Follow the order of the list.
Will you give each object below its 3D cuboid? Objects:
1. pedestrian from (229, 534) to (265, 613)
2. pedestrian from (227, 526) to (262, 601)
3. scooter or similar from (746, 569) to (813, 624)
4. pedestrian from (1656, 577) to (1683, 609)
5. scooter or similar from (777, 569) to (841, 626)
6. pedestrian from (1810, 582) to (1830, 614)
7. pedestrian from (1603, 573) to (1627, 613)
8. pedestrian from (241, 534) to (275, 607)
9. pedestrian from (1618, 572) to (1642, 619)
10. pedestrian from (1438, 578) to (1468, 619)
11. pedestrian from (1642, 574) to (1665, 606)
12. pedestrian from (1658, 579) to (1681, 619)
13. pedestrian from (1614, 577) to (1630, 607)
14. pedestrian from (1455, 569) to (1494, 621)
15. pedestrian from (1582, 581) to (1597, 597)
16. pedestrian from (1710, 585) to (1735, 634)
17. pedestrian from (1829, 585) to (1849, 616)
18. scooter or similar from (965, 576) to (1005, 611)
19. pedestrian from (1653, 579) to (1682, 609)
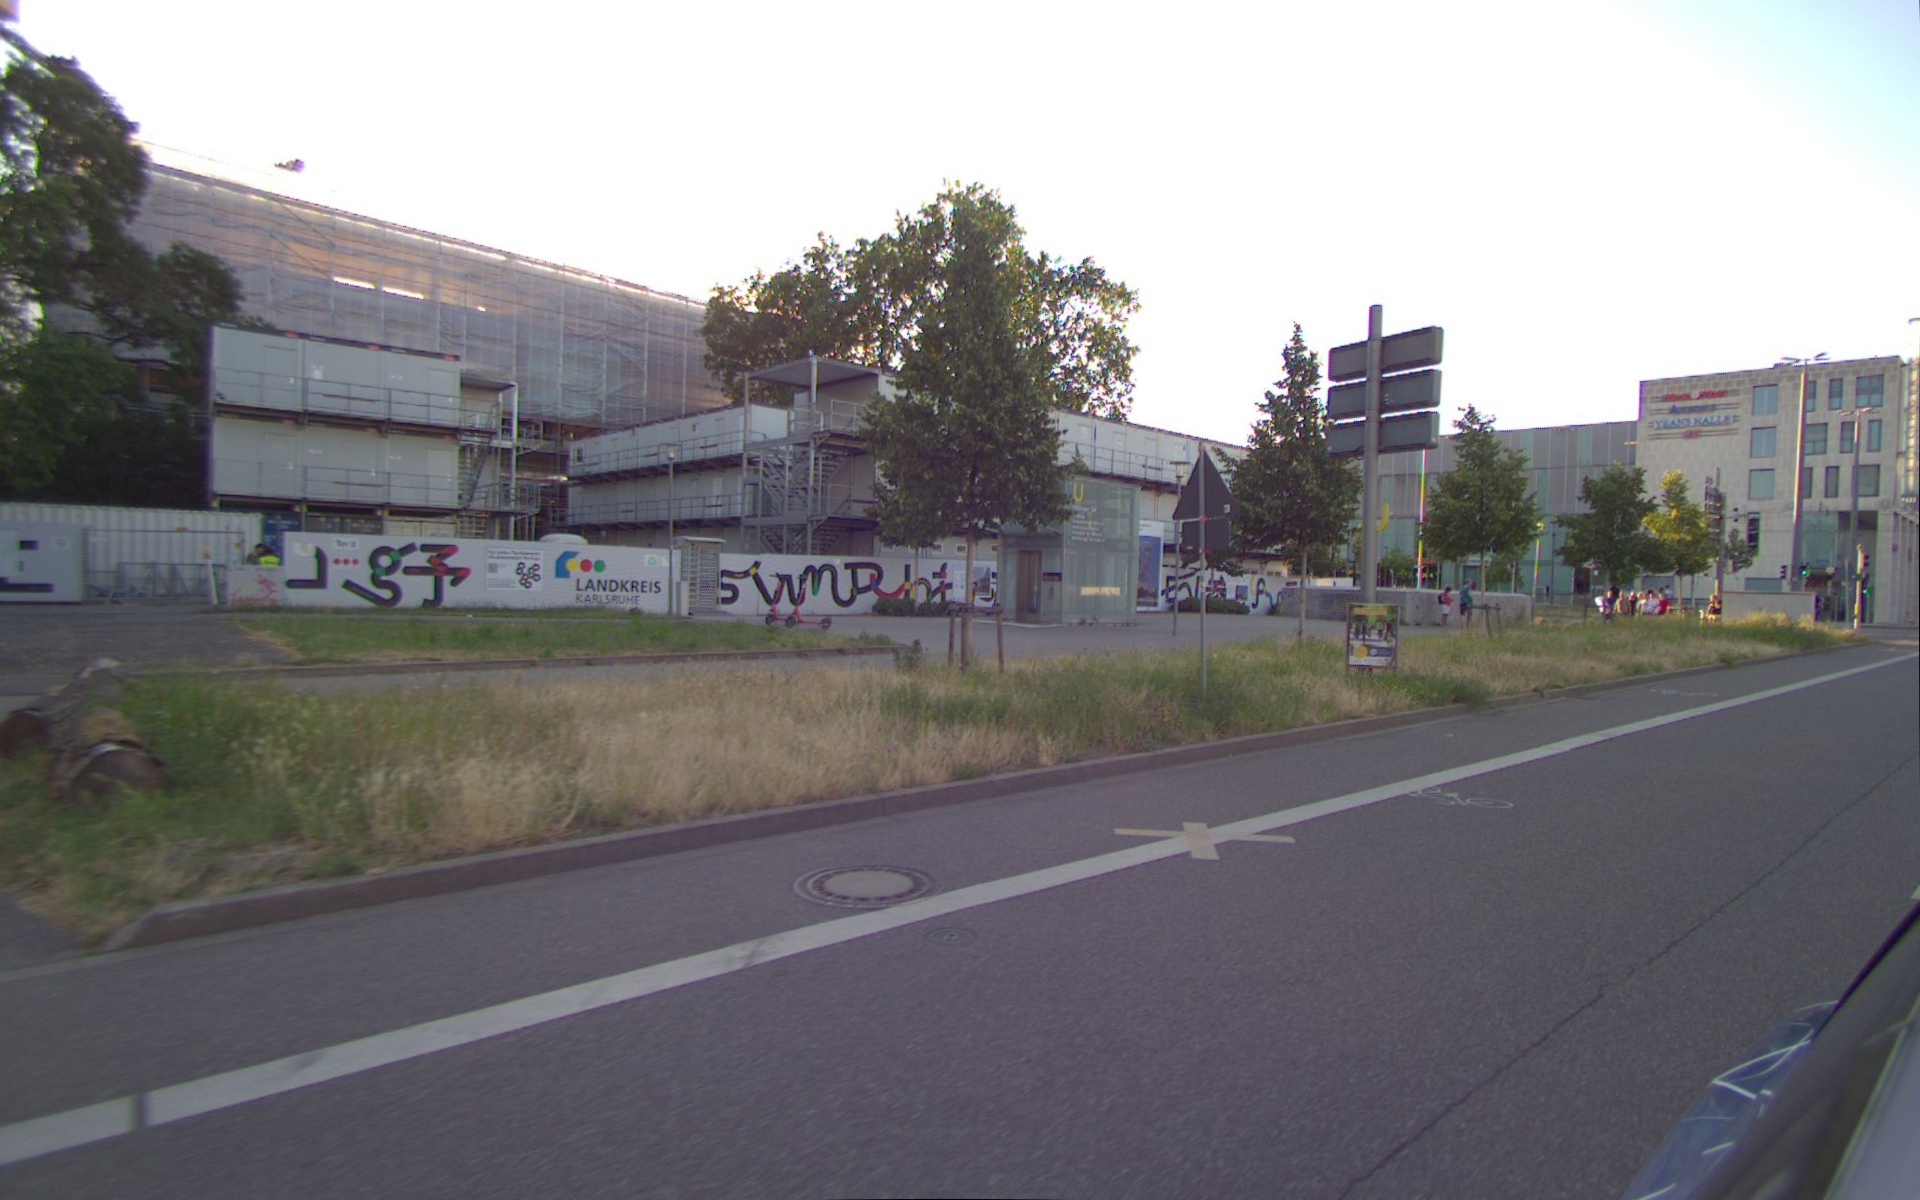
[{"bbox_3d":[-17.691,-0.658,25.136,0.588,1.943,0.771,1,1,-26],"label":"pedestrian"},{"bbox_3d":[-18.528,-0.943,26.219,0.588,1.879,0.771,1,1,-26],"label":"pedestrian"},{"bbox_3d":[-4.265,-0.097,24.004,0.473,1.235,1.550,6,4,42],"label":"scooter or similar"},{"bbox_3d":[43.666,-0.443,62.287,0.986,1.876,0.896,0,4,-29],"label":"pedestrian"},{"bbox_3d":[-3.452,-0.060,23.161,1.374,1.235,0.424,1,4,-40],"label":"scooter or similar"},{"bbox_3d":[47.889,-0.127,56.327,0.855,1.752,0.644,0,2,-39],"label":"pedestrian"},{"bbox_3d":[28.946,-0.315,44.712,0.748,1.734,0.644,2,0,-39],"label":"pedestrian"},{"bbox_3d":[-18.825,-0.782,27.149,0.588,1.925,0.771,1,1,-26],"label":"pedestrian"},{"bbox_3d":[28.188,-0.196,42.581,0.608,1.957,0.644,0,2,-39],"label":"pedestrian"},{"bbox_3d":[18.607,-0.056,38.181,0.633,1.509,0.761,3,0,-40],"label":"pedestrian"},{"bbox_3d":[43.334,-0.624,63.234,0.882,1.876,0.723,4,4,16],"label":"pedestrian"},{"bbox_3d":[32.025,-0.046,45.679,0.856,1.734,0.643,0,2,-41],"label":"pedestrian"},{"bbox_3d":[41.158,-0.495,62.891,0.575,1.877,0.604,1,2,-37],"label":"pedestrian"},{"bbox_3d":[18.958,-0.186,37.294,1.027,1.838,0.817,2,0,-35],"label":"pedestrian"},{"bbox_3d":[39.728,-0.722,63.850,0.648,0.975,0.644,3,1,44],"label":"pedestrian"},{"bbox_3d":[31.050,0.362,41.197,0.608,1.957,0.644,1,1,-41],"label":"pedestrian"},{"bbox_3d":[48.358,0.028,55.682,0.855,1.680,0.644,0,2,-39],"label":"pedestrian"},{"bbox_3d":[0.894,-0.240,36.248,0.466,1.236,1.571,0,0,-42],"label":"scooter or similar"},{"bbox_3d":[42.916,-0.365,61.394,0.986,1.744,0.873,2,4,-14],"label":"pedestrian"}]
